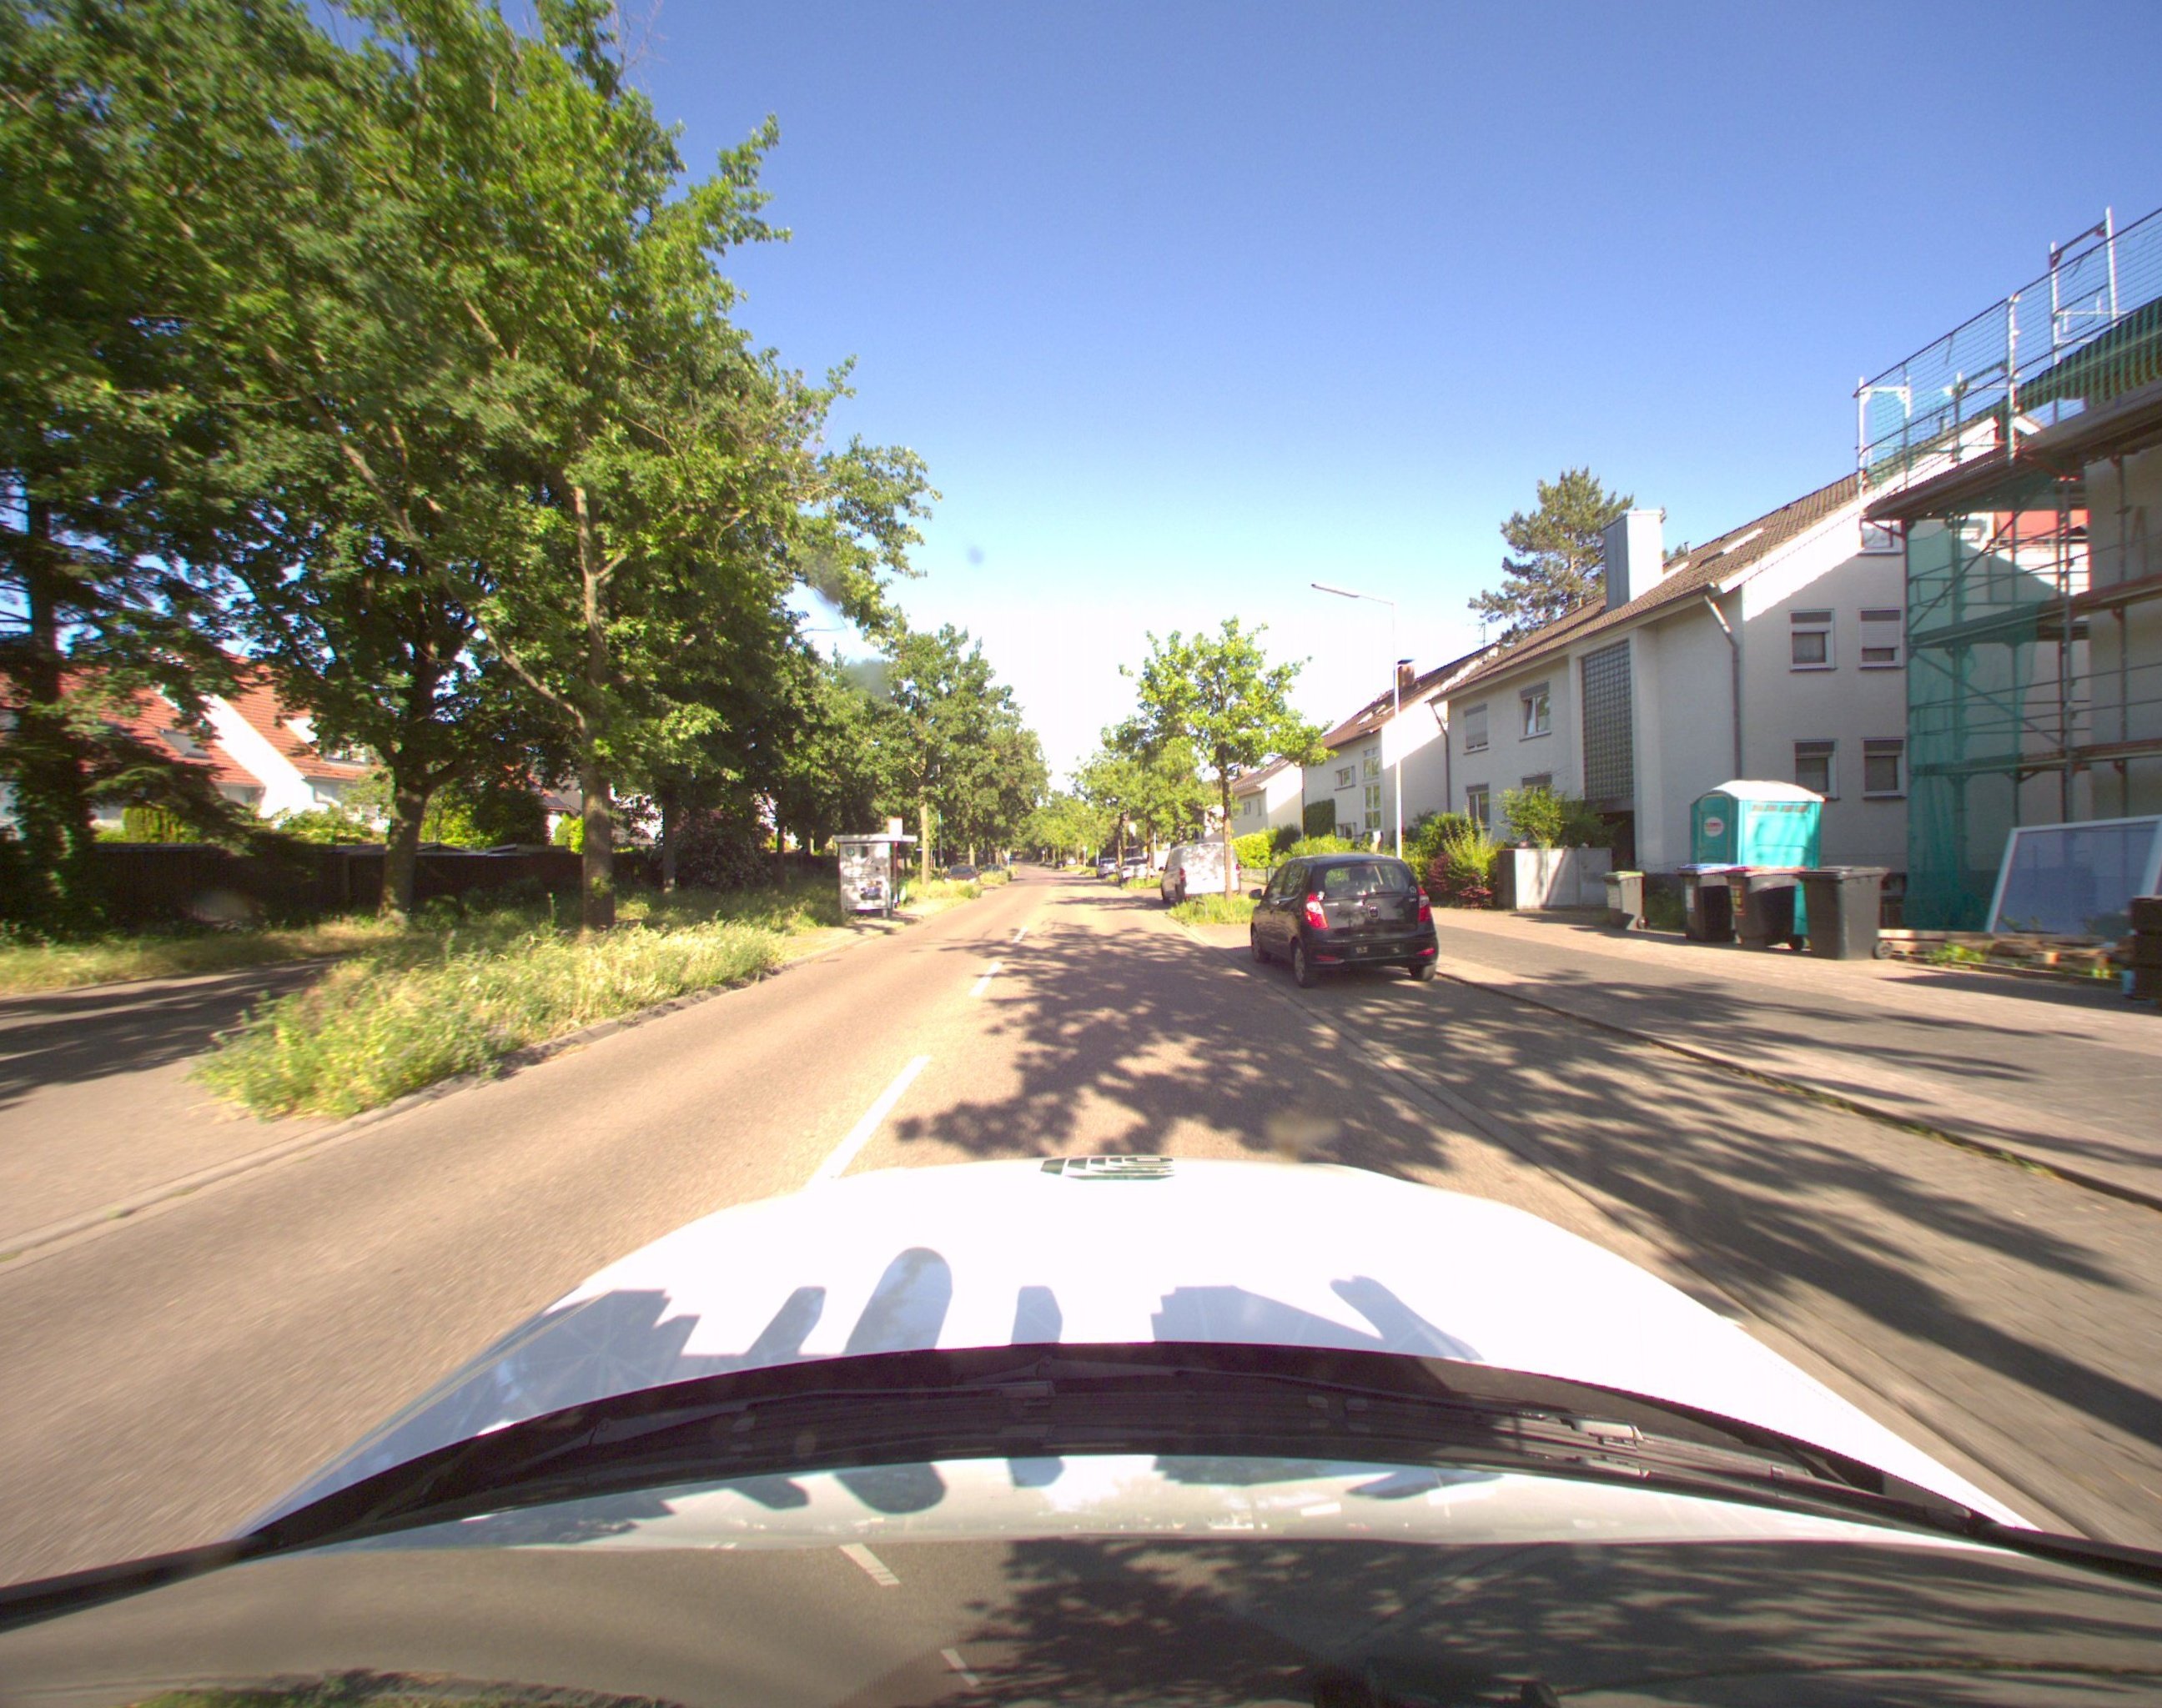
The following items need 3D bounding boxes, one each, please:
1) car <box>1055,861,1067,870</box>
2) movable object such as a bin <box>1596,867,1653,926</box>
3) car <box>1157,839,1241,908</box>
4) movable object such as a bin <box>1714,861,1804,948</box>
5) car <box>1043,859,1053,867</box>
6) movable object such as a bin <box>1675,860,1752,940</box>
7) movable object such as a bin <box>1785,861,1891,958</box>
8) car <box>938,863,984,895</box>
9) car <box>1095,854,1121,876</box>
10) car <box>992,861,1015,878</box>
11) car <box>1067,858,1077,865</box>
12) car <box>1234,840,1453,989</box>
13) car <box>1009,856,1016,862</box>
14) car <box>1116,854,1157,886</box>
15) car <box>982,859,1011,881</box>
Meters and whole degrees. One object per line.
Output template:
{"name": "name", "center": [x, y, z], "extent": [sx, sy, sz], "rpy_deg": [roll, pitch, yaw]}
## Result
{"name": "car", "center": [-3.360, 1.922, 137.603], "extent": [1.928, 1.542, 3.997], "rpy_deg": [-1, -1, -2]}
{"name": "movable object such as a bin", "center": [8.864, 0.685, 13.296], "extent": [0.528, 0.932, 0.549], "rpy_deg": [-1, -1, -1]}
{"name": "car", "center": [3.657, 0.589, 26.157], "extent": [1.831, 1.971, 4.755], "rpy_deg": [-1, -1, -2]}
{"name": "movable object such as a bin", "center": [8.685, 0.633, 10.452], "extent": [0.602, 1.069, 0.646], "rpy_deg": [-1, -1, -1]}
{"name": "car", "center": [-6.767, 1.816, 166.245], "extent": [1.929, 1.454, 3.995], "rpy_deg": [-1, -1, -3]}
{"name": "movable object such as a bin", "center": [8.804, 0.628, 11.353], "extent": [0.602, 1.069, 0.567], "rpy_deg": [-1, -1, -1]}
{"name": "movable object such as a bin", "center": [8.793, 0.627, 9.478], "extent": [0.602, 1.069, 0.646], "rpy_deg": [-1, -1, -1]}
{"name": "car", "center": [-6.038, 1.221, 41.326], "extent": [1.932, 1.479, 3.995], "rpy_deg": [-1, -1, -4]}
{"name": "car", "center": [2.286, 0.934, 68.941], "extent": [1.928, 1.742, 3.997], "rpy_deg": [-1, -1, -2]}
{"name": "car", "center": [-6.874, 1.349, 72.577], "extent": [1.791, 1.479, 3.518], "rpy_deg": [-1, -1, -1]}
{"name": "car", "center": [-1.830, 1.535, 163.870], "extent": [1.929, 1.454, 3.995], "rpy_deg": [-1, -1, -3]}
{"name": "car", "center": [3.276, 0.683, 10.941], "extent": [1.667, 1.578, 3.751], "rpy_deg": [-3, 0, 0]}
{"name": "car", "center": [-19.256, 1.423, 229.263], "extent": [1.929, 1.454, 3.995], "rpy_deg": [-1, -1, -3]}
{"name": "car", "center": [3.103, 0.904, 46.319], "extent": [1.931, 1.704, 3.997], "rpy_deg": [-1, -1, -2]}
{"name": "car", "center": [-6.252, 1.197, 60.590], "extent": [1.990, 1.557, 3.994], "rpy_deg": [0, -1, -4]}
